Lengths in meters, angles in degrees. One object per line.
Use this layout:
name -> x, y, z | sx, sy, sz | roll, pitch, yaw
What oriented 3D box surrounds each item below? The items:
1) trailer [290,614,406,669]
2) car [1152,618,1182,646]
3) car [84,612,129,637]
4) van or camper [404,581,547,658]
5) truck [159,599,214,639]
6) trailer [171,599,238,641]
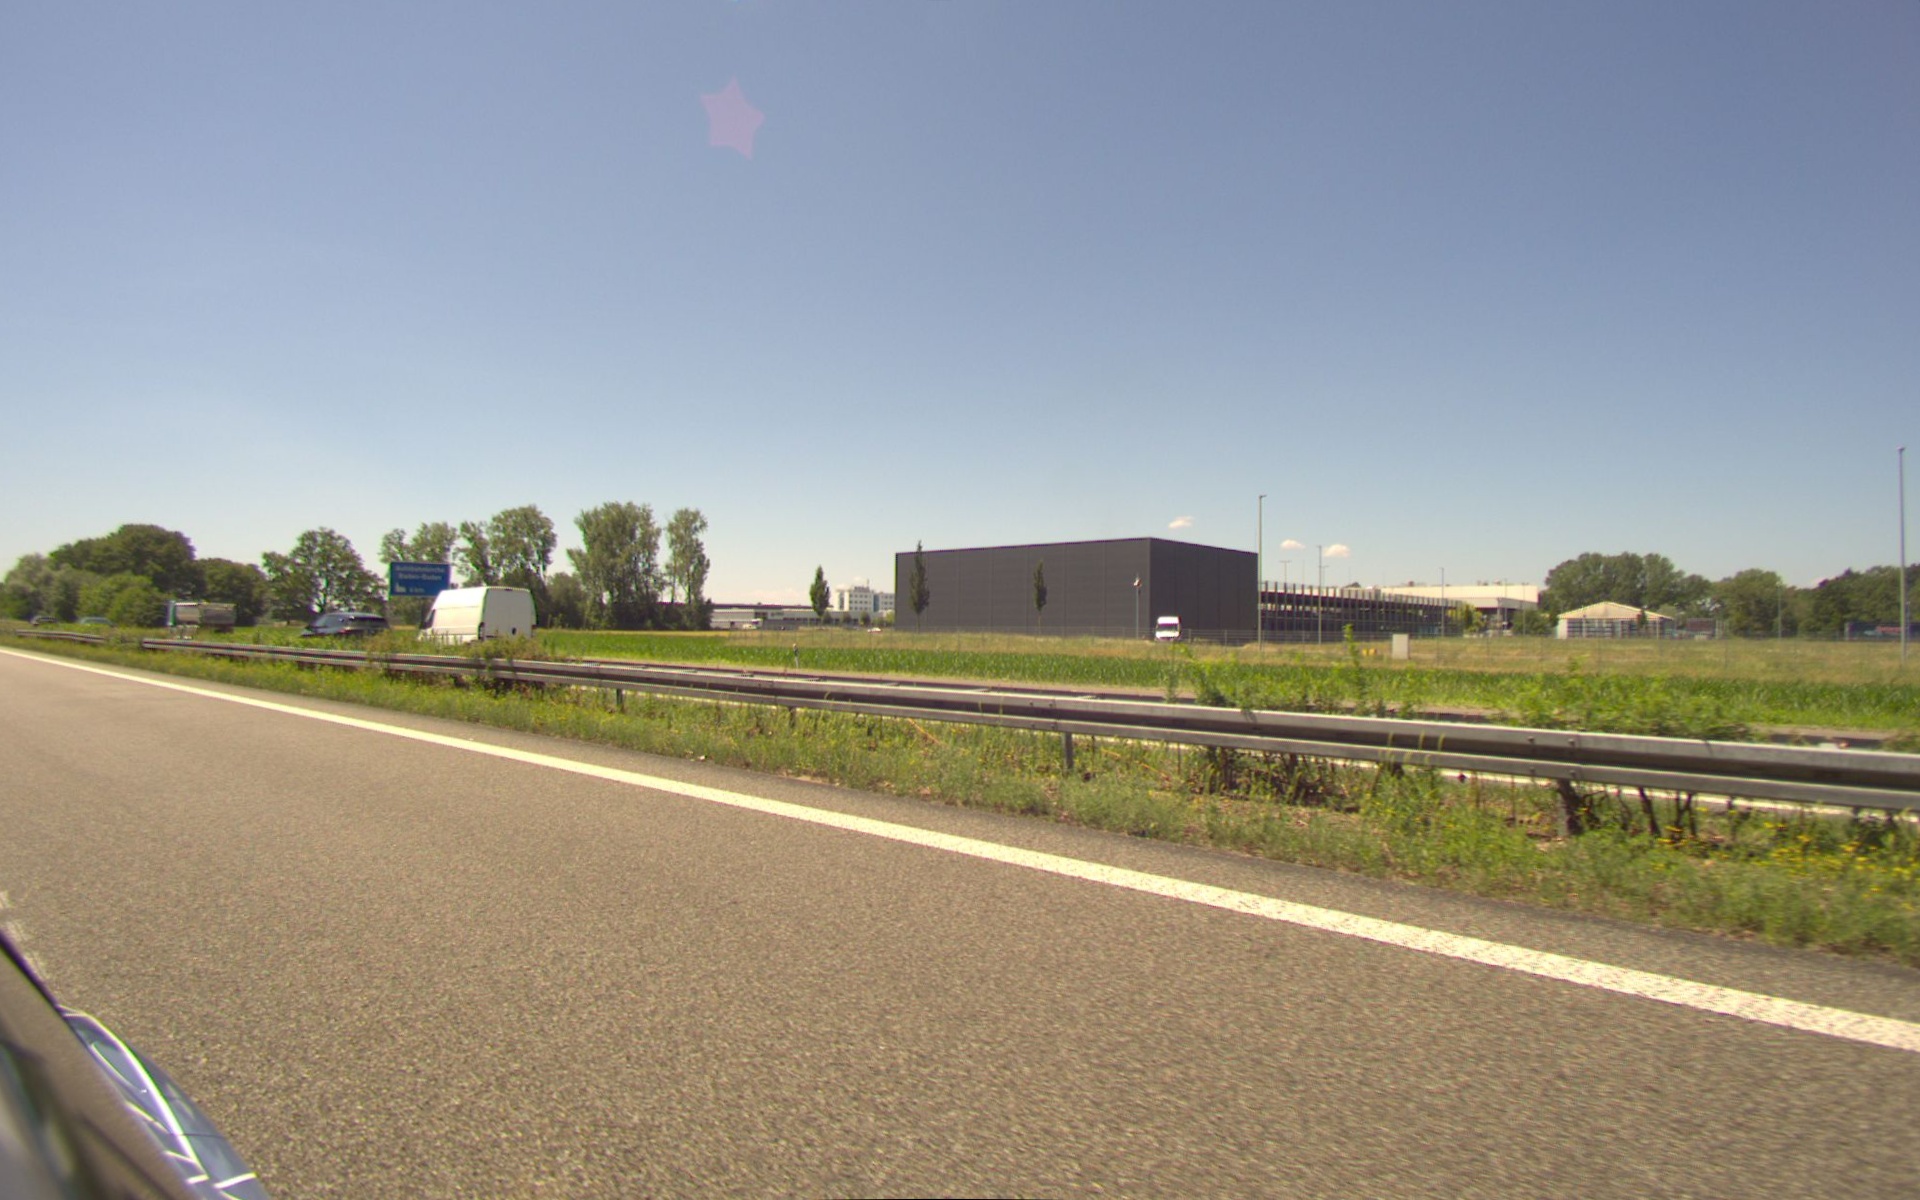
trailer -> -21.008, 1.392, 34.658 | 4.855, 1.772, 1.973 | -1, -3, 41
car -> 16.903, 2.610, 82.918 | 2.085, 2.194, 5.593 | 0, -2, 9
car -> -62.219, 1.762, 73.731 | 4.720, 1.756, 1.849 | -1, -2, 42
van or camper -> -17.804, 0.727, 37.060 | 6.173, 2.553, 2.396 | -1, -3, 41
truck -> -66.258, 1.628, 86.635 | 5.836, 3.275, 2.669 | -1, -2, 42
trailer -> -61.689, 1.587, 82.553 | 9.256, 3.262, 2.647 | -1, -1, 42
